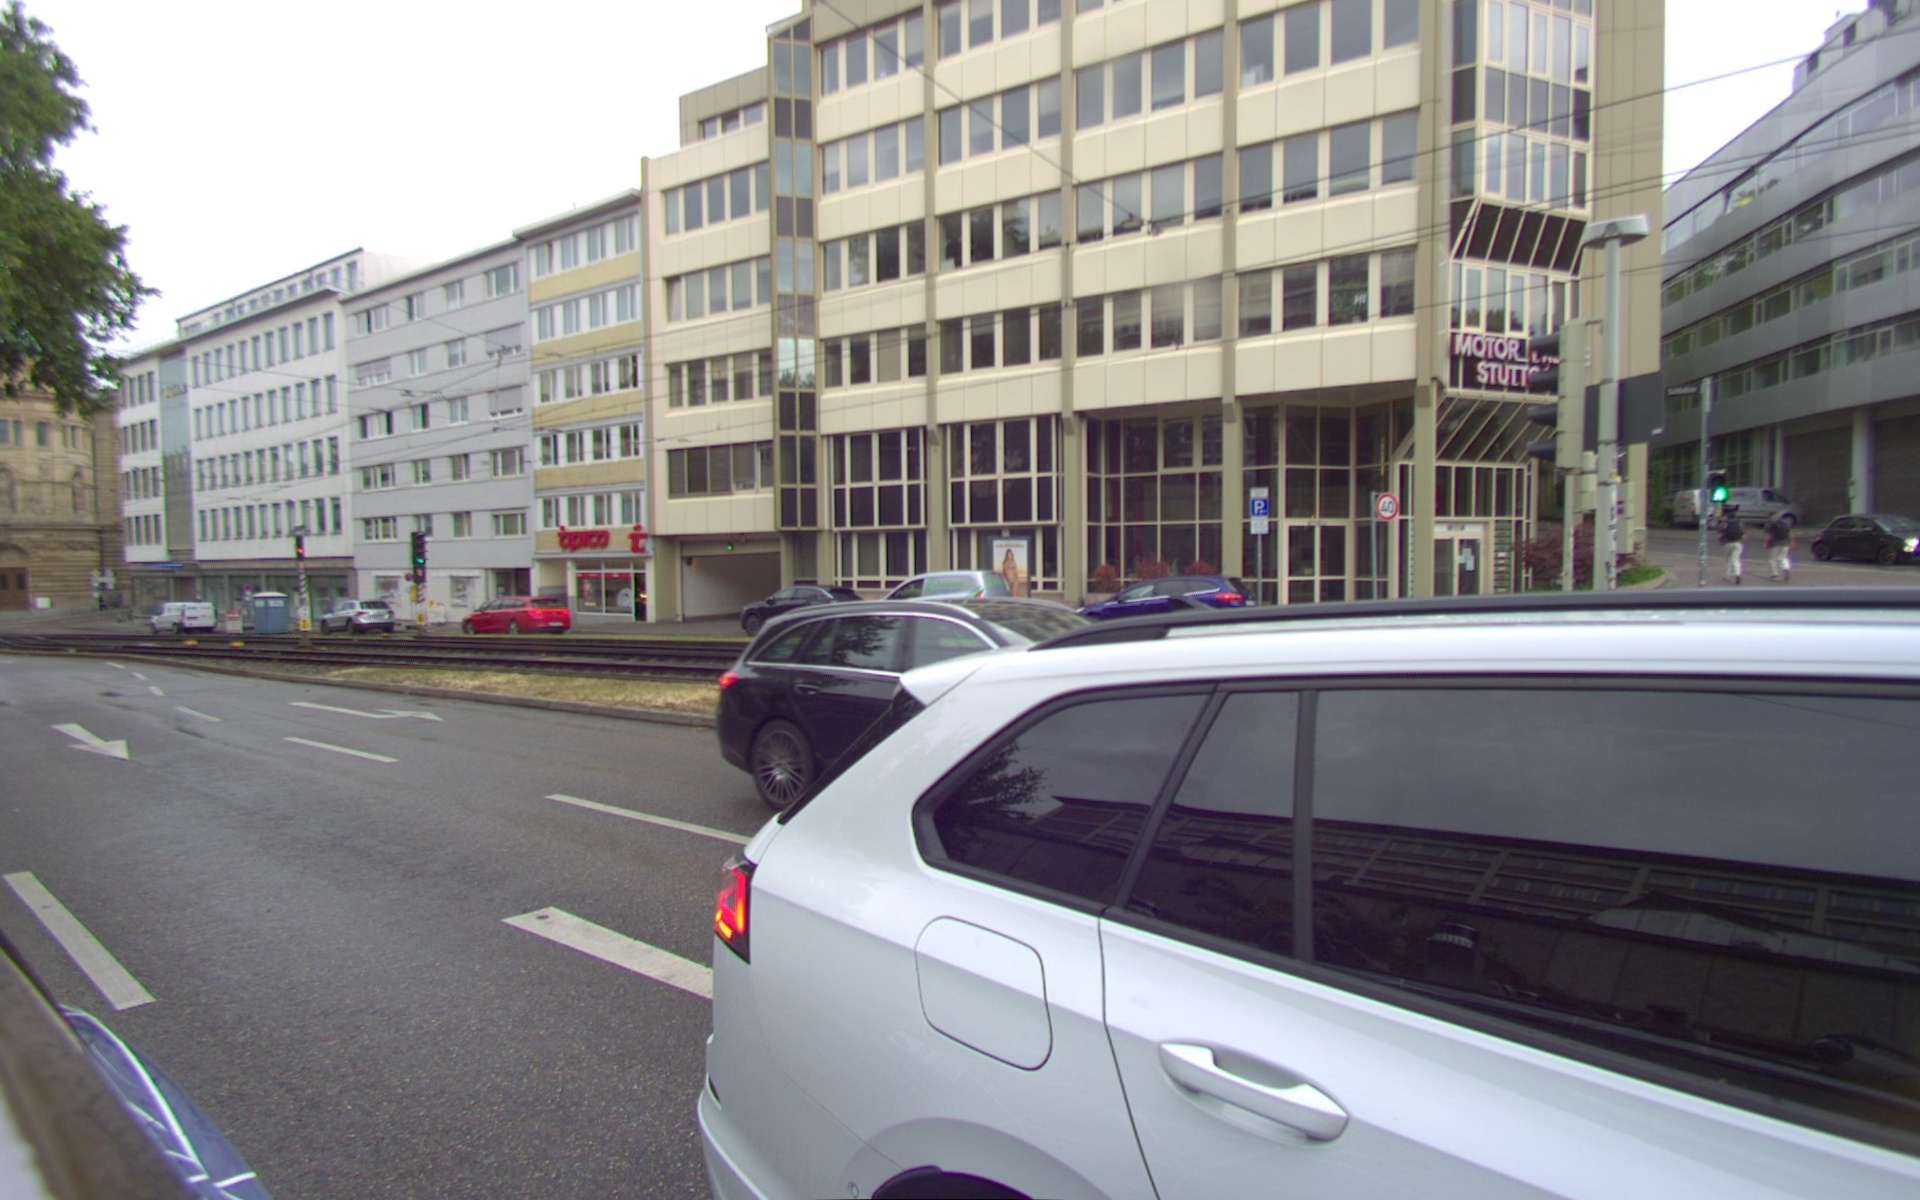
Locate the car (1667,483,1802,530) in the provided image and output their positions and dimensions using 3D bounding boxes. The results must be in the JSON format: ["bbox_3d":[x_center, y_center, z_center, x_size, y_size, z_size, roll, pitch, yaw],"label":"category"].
[{"bbox_3d":[37.348,-4.487,48.916,4.779,2.028,1.996,-2,3,8],"label":"car"}]

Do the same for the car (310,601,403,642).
[{"bbox_3d":[-28.333,1.008,47.444,4.686,1.686,1.977,-2,3,36],"label":"car"}]

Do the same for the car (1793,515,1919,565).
[{"bbox_3d":[27.625,-1.809,30.362,1.803,1.374,4.004,-2,3,-3],"label":"car"}]

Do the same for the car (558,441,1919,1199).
[{"bbox_3d":[1.348,0.654,1.278,4.251,1.588,1.662,-1,1,41],"label":"car"}]

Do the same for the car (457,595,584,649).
[{"bbox_3d":[-15.103,0.700,34.712,4.407,1.652,1.964,0,3,35],"label":"car"}]

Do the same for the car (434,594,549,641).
[{"bbox_3d":[-18.921,0.664,40.842,4.682,1.686,1.978,0,4,34],"label":"car"}]

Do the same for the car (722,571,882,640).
[{"bbox_3d":[-4.855,0.130,30.925,4.682,1.863,1.978,0,4,34],"label":"car"}]

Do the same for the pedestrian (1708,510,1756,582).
[{"bbox_3d":[19.652,-1.373,25.778,0.804,1.800,0.637,-1,3,18],"label":"pedestrian"}]

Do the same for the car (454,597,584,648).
[{"bbox_3d":[-15.124,0.724,34.658,4.315,1.498,1.978,0,4,33],"label":"car"}]

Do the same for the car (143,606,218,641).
[{"bbox_3d":[-46.810,1.352,60.757,5.117,1.856,1.978,0,4,34],"label":"car"}]

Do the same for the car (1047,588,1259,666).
[{"bbox_3d":[4.553,0.583,24.075,4.536,1.593,1.978,0,4,34],"label":"car"}]

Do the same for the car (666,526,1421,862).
[{"bbox_3d":[0.299,0.415,6.691,4.638,1.478,1.974,-2,2,39],"label":"car"}]

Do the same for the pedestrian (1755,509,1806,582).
[{"bbox_3d":[20.776,-1.378,25.651,0.804,1.800,0.637,-1,3,18],"label":"pedestrian"}]

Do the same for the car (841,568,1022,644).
[{"bbox_3d":[-0.824,0.127,28.010,4.682,1.863,1.978,0,4,34],"label":"car"}]
